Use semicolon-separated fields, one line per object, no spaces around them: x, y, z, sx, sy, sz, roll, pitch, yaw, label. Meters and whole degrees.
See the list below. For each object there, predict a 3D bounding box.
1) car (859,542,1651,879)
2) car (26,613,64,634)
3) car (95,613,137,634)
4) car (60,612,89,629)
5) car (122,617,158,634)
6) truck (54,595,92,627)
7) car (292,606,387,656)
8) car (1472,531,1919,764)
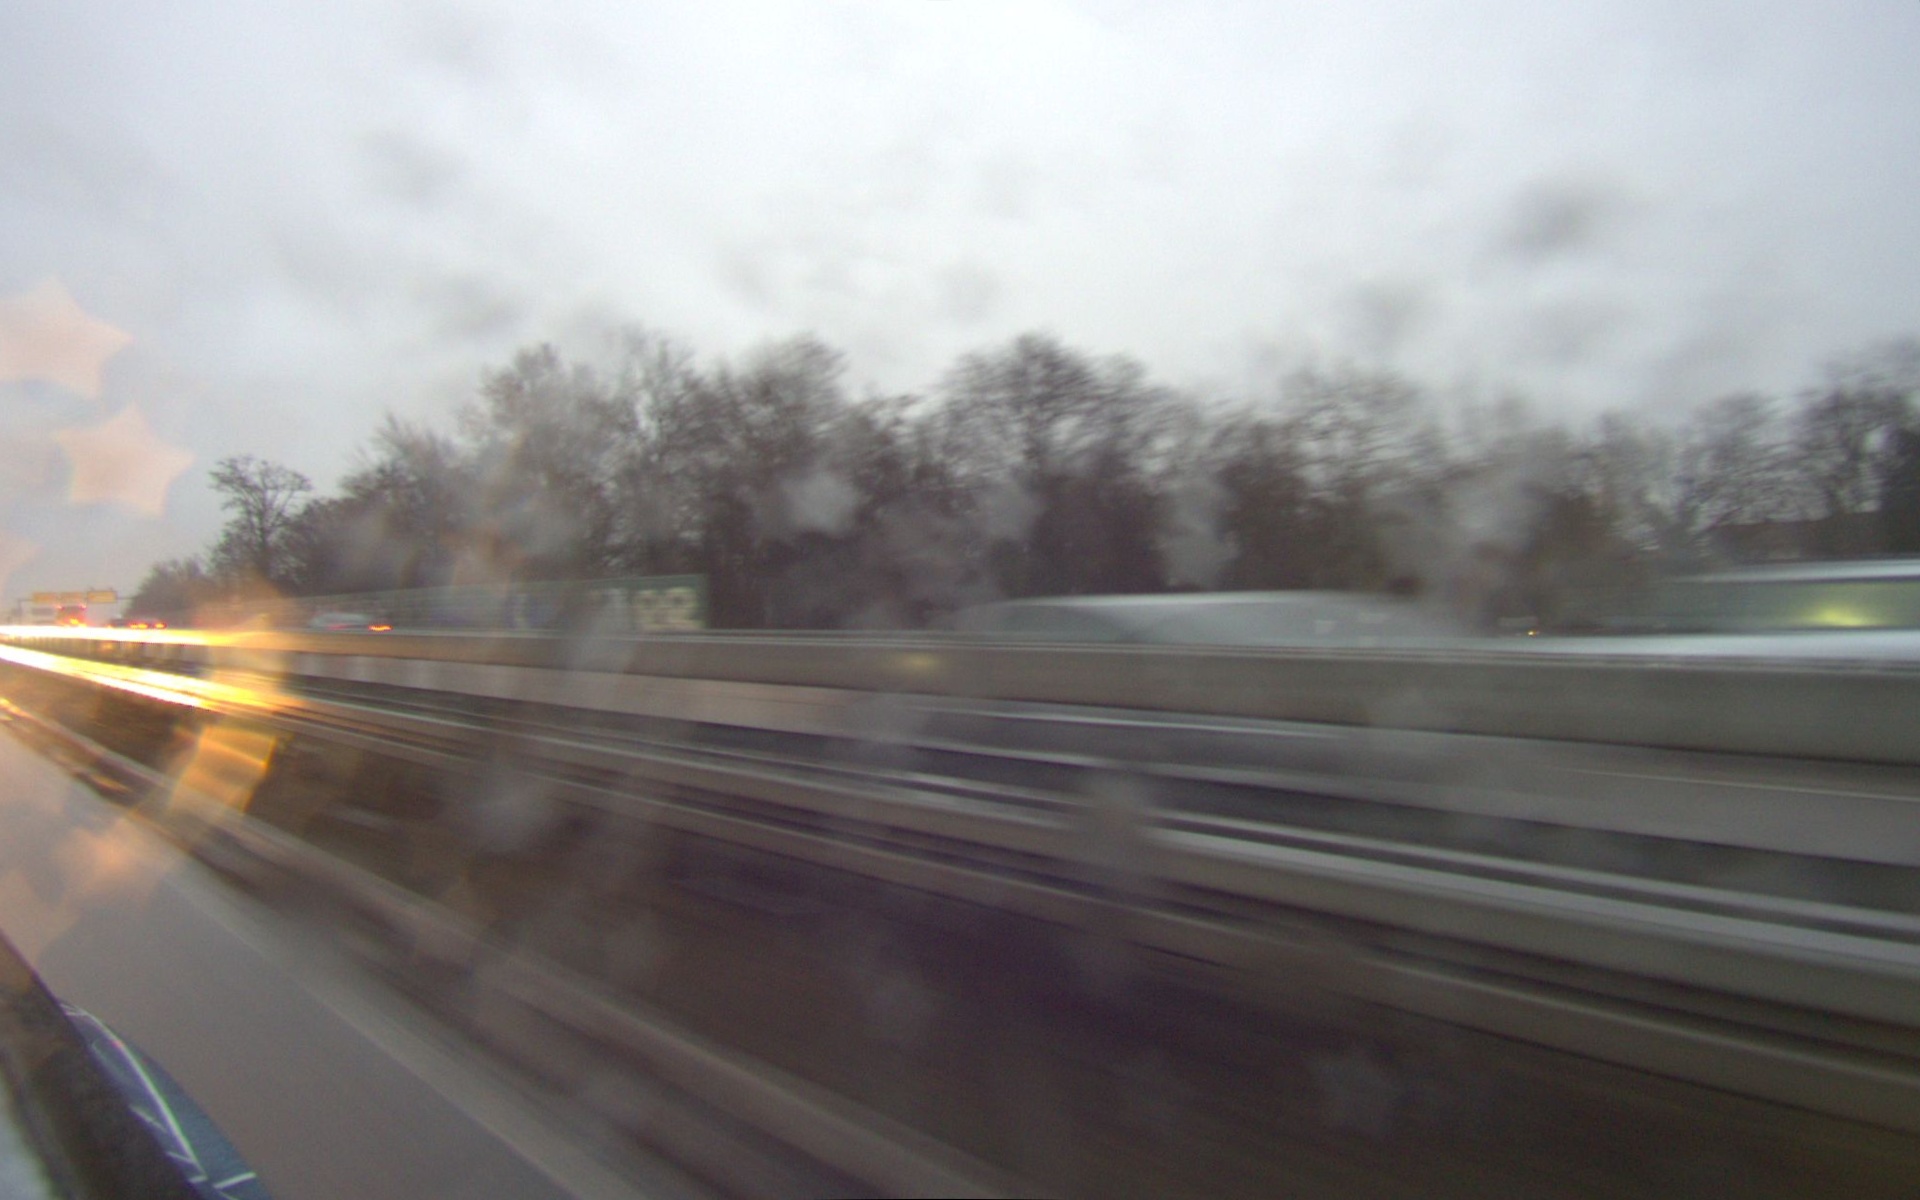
1.607;0.499;6.631;4.643;1.460;1.847;-1;0;41;car
-69.885;1.758;77.262;4.672;1.493;1.844;-1;0;44;car
-62.344;1.718;74.711;4.285;1.525;1.971;-1;0;44;car
-92.039;2.147;105.165;4.001;1.661;1.971;-1;0;44;car
-73.952;2.273;91.215;4.798;1.525;1.971;-1;0;44;car
-112.046;1.420;127.803;3.042;3.886;9.375;-1;0;-45;truck
-21.451;1.030;34.924;4.178;1.619;1.708;-1;0;42;car
6.941;0.334;8.226;4.643;1.639;1.847;-1;0;41;car
